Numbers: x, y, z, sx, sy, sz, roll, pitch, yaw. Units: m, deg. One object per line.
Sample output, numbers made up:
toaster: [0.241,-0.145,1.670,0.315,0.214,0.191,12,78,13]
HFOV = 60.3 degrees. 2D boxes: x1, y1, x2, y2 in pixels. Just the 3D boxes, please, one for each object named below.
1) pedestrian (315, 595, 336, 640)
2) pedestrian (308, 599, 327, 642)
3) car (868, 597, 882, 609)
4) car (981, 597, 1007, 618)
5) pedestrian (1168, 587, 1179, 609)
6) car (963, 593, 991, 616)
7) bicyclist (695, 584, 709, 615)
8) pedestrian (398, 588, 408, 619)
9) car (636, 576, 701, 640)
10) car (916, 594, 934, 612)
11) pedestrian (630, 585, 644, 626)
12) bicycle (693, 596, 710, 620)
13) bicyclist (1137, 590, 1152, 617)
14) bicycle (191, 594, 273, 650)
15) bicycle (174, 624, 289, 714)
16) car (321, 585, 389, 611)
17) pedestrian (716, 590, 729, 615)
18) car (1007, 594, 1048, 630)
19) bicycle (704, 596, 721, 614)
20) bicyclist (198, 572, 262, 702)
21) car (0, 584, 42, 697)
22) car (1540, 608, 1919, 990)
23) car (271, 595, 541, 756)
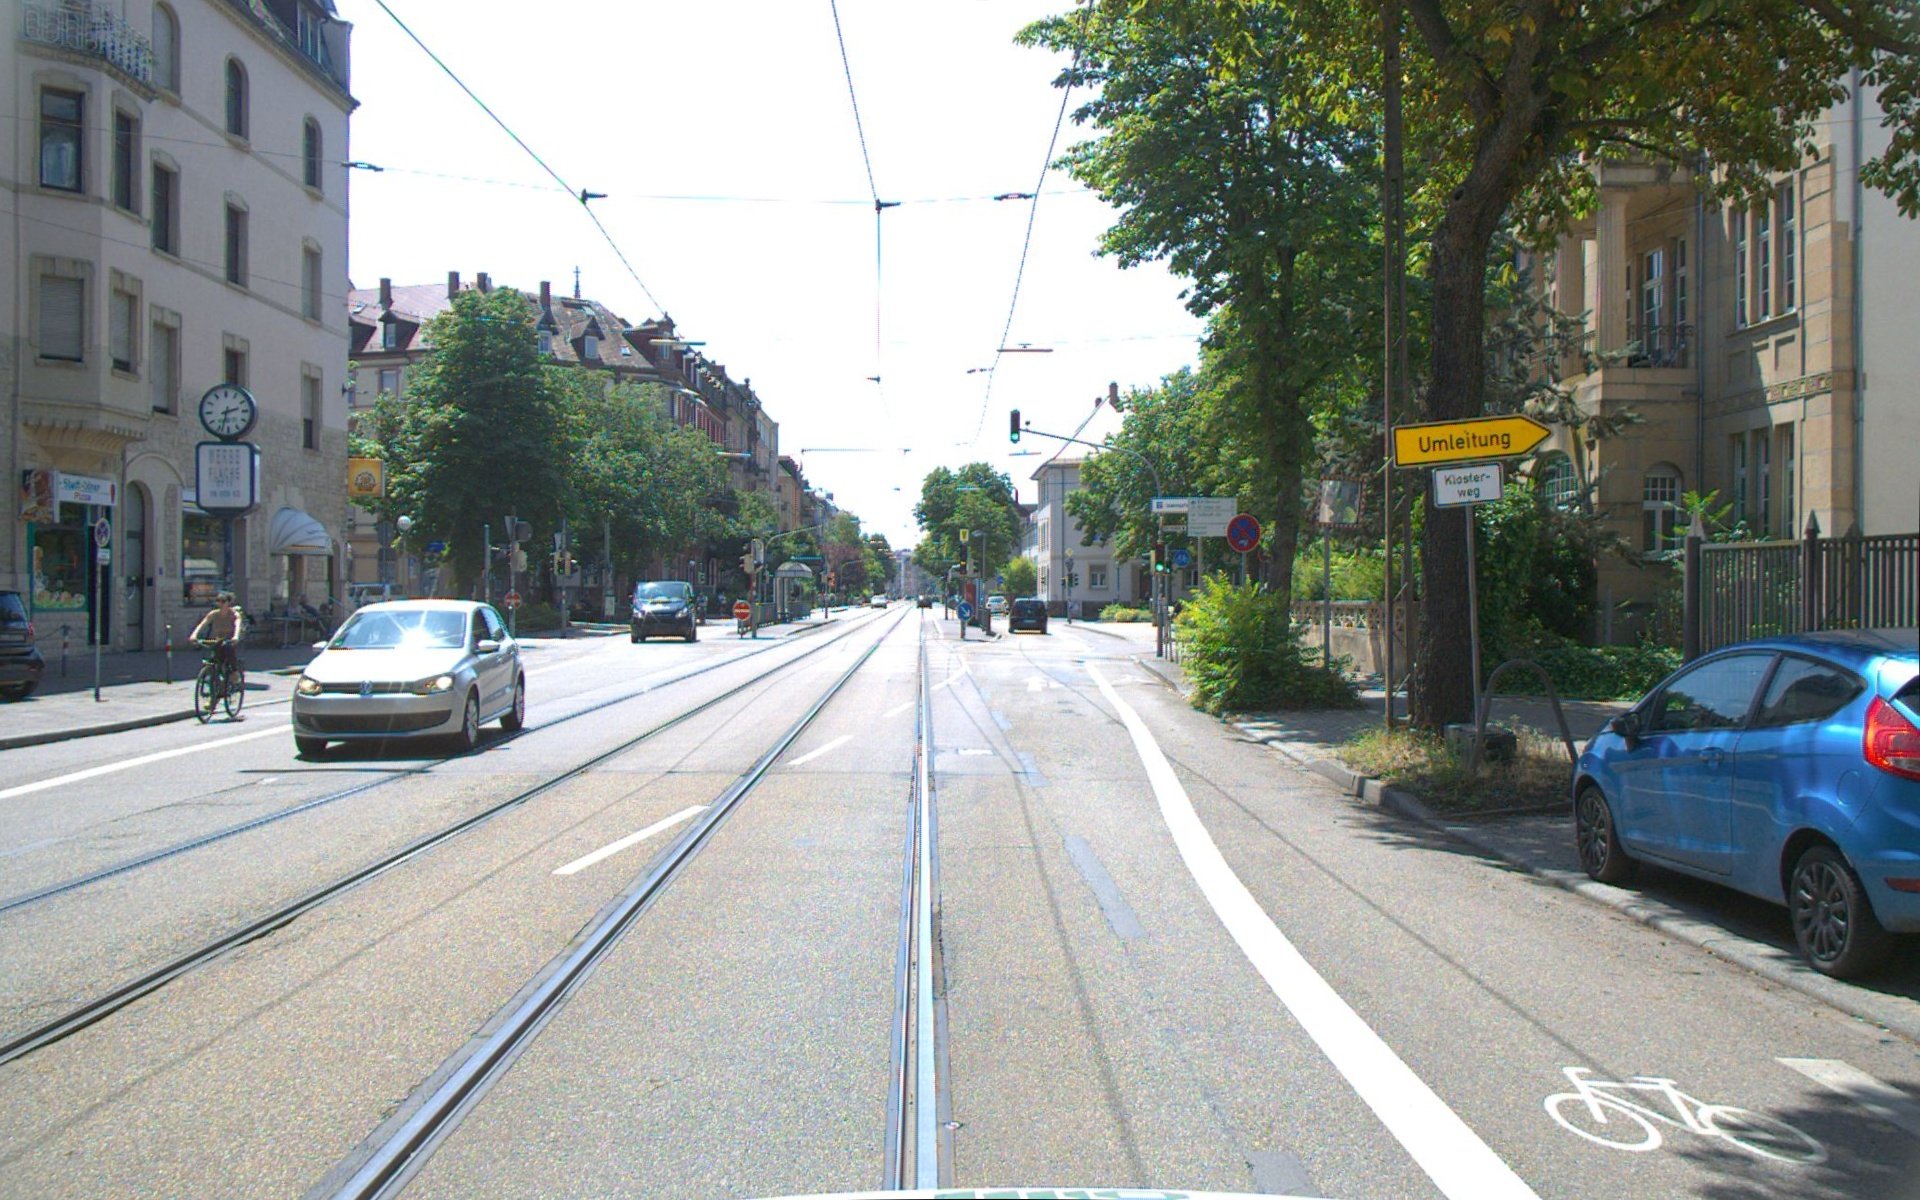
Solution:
pedestrian: [-16.962,0.468,44.215,0.397,1.168,0.405,1,-1,-5]
pedestrian: [-16.785,0.538,43.231,0.347,1.108,0.405,1,-1,-5]
car: [-9.434,0.359,184.275,1.510,1.362,3.716,1,0,-3]
car: [2.589,0.572,127.537,1.712,1.498,3.936,-3,0,-3]
pedestrian: [10.759,-0.100,83.354,0.498,1.111,0.478,-1,1,4]
car: [1.129,0.299,112.632,1.496,1.481,3.359,-1,0,-7]
bicyclist: [-13.382,-0.021,85.738,0.596,1.601,0.585,1,-1,-2]
pedestrian: [-33.016,0.206,98.043,0.500,1.799,0.525,1,-1,-24]
car: [-9.591,0.272,54.682,1.808,1.971,4.815,-1,0,-7]
car: [-4.024,0.349,189.215,2.006,2.049,4.605,1,0,-2]
pedestrian: [-15.224,0.277,77.891,0.500,1.912,0.494,1,-1,3]
bicycle: [-13.393,0.400,85.801,0.615,1.177,1.977,1,0,-2]
bicyclist: [11.272,0.218,101.026,0.681,1.675,0.579,1,-1,31]
bicycle: [-16.741,0.512,38.092,0.444,1.246,2.081,1,0,17]
bicycle: [-9.612,0.882,21.905,0.631,1.093,2.185,0,0,-2]
car: [-35.512,-0.132,97.038,3.653,1.467,1.541,1,0,23]
pedestrian: [-16.073,0.195,111.942,0.649,1.643,0.462,1,2,-45]
car: [2.862,0.517,70.743,1.494,1.470,3.363,-1,0,-2]
bicycle: [-17.164,0.357,114.664,0.357,1.189,1.517,2,1,27]
bicyclist: [-9.600,0.481,21.759,0.597,1.692,0.579,0,0,-2]
car: [-14.366,0.507,22.120,3.284,1.497,1.530,1,0,2]
car: [4.603,0.808,8.662,1.649,1.487,3.999,-1,0,-1]
car: [-5.558,0.697,17.075,1.674,1.437,3.822,-1,0,-4]
